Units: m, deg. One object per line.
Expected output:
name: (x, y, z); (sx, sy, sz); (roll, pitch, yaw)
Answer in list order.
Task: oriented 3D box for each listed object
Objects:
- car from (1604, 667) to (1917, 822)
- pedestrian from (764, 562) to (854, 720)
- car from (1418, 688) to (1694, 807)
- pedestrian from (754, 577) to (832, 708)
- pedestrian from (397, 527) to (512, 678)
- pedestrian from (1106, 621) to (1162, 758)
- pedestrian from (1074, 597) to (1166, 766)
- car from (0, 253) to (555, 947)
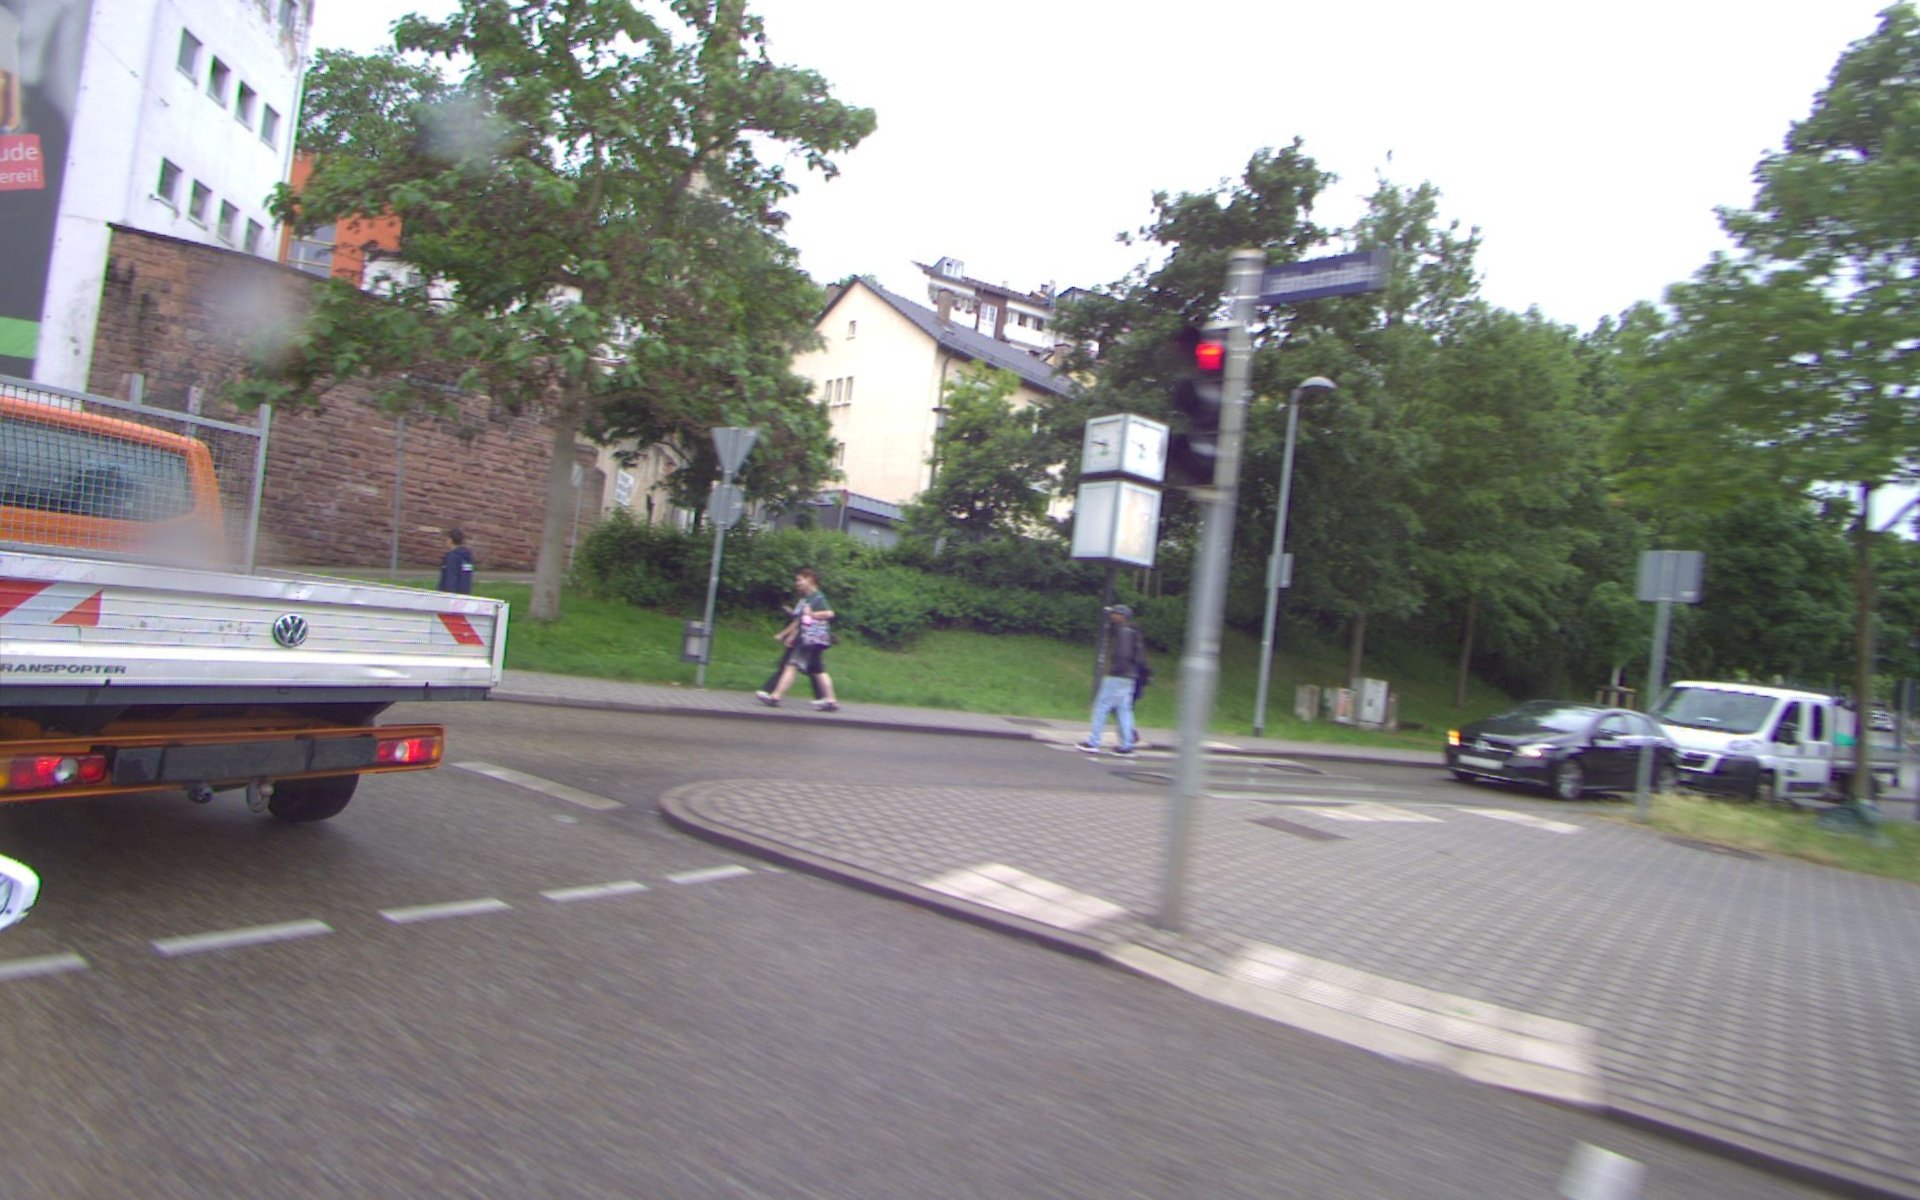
car: (15.189, 2.767, 18.980); (6.270, 2.260, 2.240); (8, -2, -29)
pedestrian: (-1.882, 0.498, 12.501); (0.687, 1.853, 0.736); (6, 2, -32)
car: (9.316, 2.310, 15.679); (4.050, 1.390, 1.784); (8, -2, -28)
pedestrian: (-2.200, 0.552, 13.227); (0.698, 1.620, 0.597); (5, 2, -29)
pedestrian: (-6.292, 0.030, 12.552); (0.948, 1.707, 0.571); (9, 2, -8)
pedestrian: (2.312, 1.176, 13.393); (0.518, 1.727, 0.558); (7, 1, 9)
pedestrian: (2.032, 1.020, 12.859); (0.774, 2.038, 0.587); (7, 1, -9)
car: (-4.949, -0.104, 5.126); (5.445, 2.111, 2.110); (6, -4, 28)
